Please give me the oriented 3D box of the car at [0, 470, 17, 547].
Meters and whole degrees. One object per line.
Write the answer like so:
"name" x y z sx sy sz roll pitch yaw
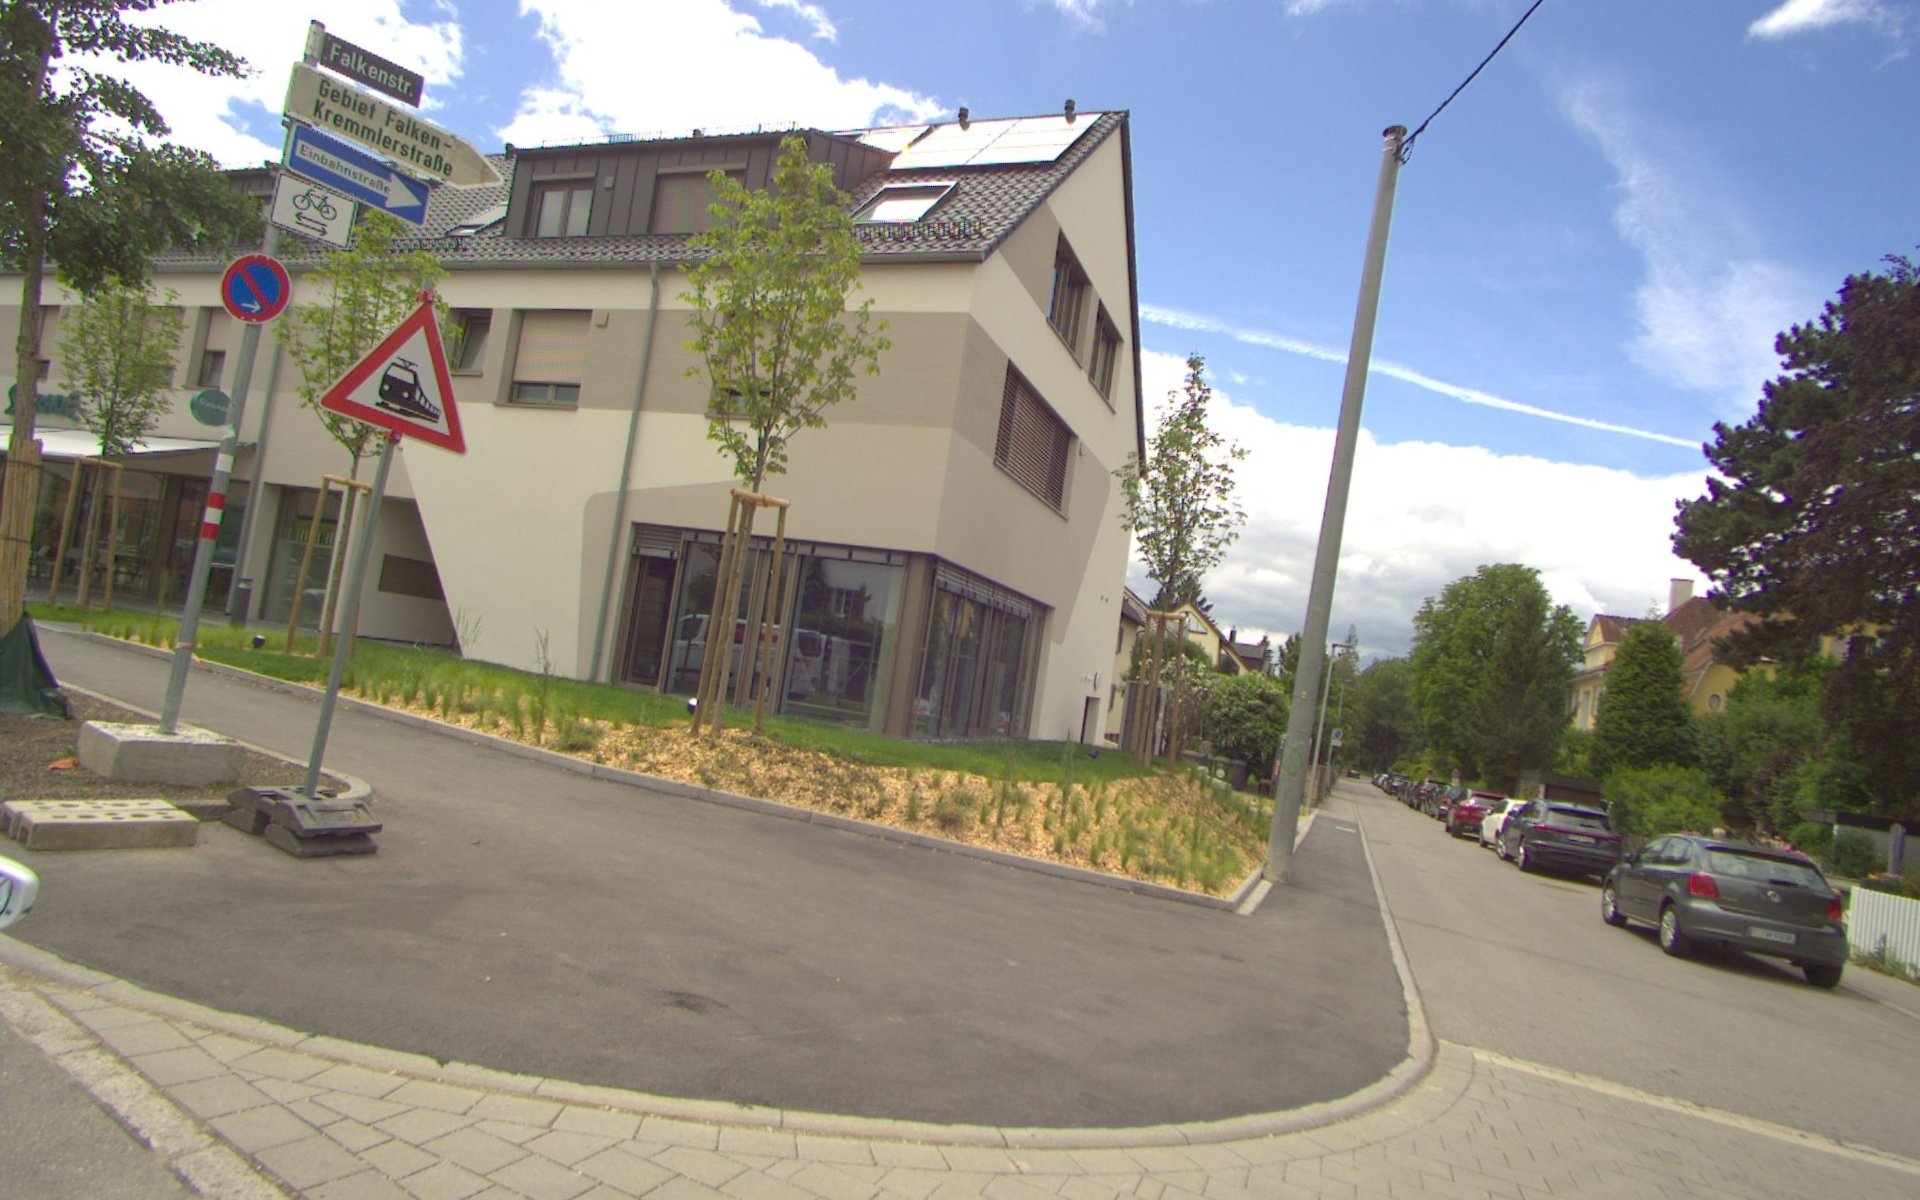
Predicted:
"car" -11.907 -0.672 10.001 4.816 1.934 1.968 6 -6 28

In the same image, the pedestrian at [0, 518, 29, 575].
"pedestrian" -21.136 -1.190 22.369 0.318 1.178 0.423 6 -3 26

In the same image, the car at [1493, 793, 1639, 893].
"car" 13.732 5.453 23.066 1.853 1.622 4.358 7 -6 20

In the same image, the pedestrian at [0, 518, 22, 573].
"pedestrian" -21.434 -1.229 22.516 0.318 1.194 0.423 6 -3 26

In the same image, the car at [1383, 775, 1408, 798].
"car" 36.417 15.573 84.106 1.525 1.649 3.244 7 -6 20

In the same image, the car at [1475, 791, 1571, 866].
"car" 15.606 6.298 28.023 1.631 1.558 3.356 7 -6 20

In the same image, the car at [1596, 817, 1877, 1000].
"car" 9.591 3.735 12.773 1.683 1.471 3.544 7 -6 20

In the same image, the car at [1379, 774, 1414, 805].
"car" 29.042 12.584 67.005 1.631 1.649 3.778 7 -6 20

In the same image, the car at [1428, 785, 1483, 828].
"car" 21.999 9.139 44.770 1.631 1.463 3.470 7 -6 20

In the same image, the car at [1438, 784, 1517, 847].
"car" 16.891 7.001 32.981 1.631 1.558 3.907 7 -6 20

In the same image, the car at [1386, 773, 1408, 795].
"car" 38.854 16.349 89.549 1.368 1.649 3.004 7 -6 20

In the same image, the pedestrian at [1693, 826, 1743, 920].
"pedestrian" 13.878 4.984 18.433 0.567 1.562 0.545 6 -6 33

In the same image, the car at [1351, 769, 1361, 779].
"car" 66.171 29.095 168.182 1.368 1.524 3.004 7 -6 20

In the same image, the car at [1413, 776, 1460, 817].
"car" 24.533 10.103 51.856 1.631 1.724 3.470 7 -6 20
